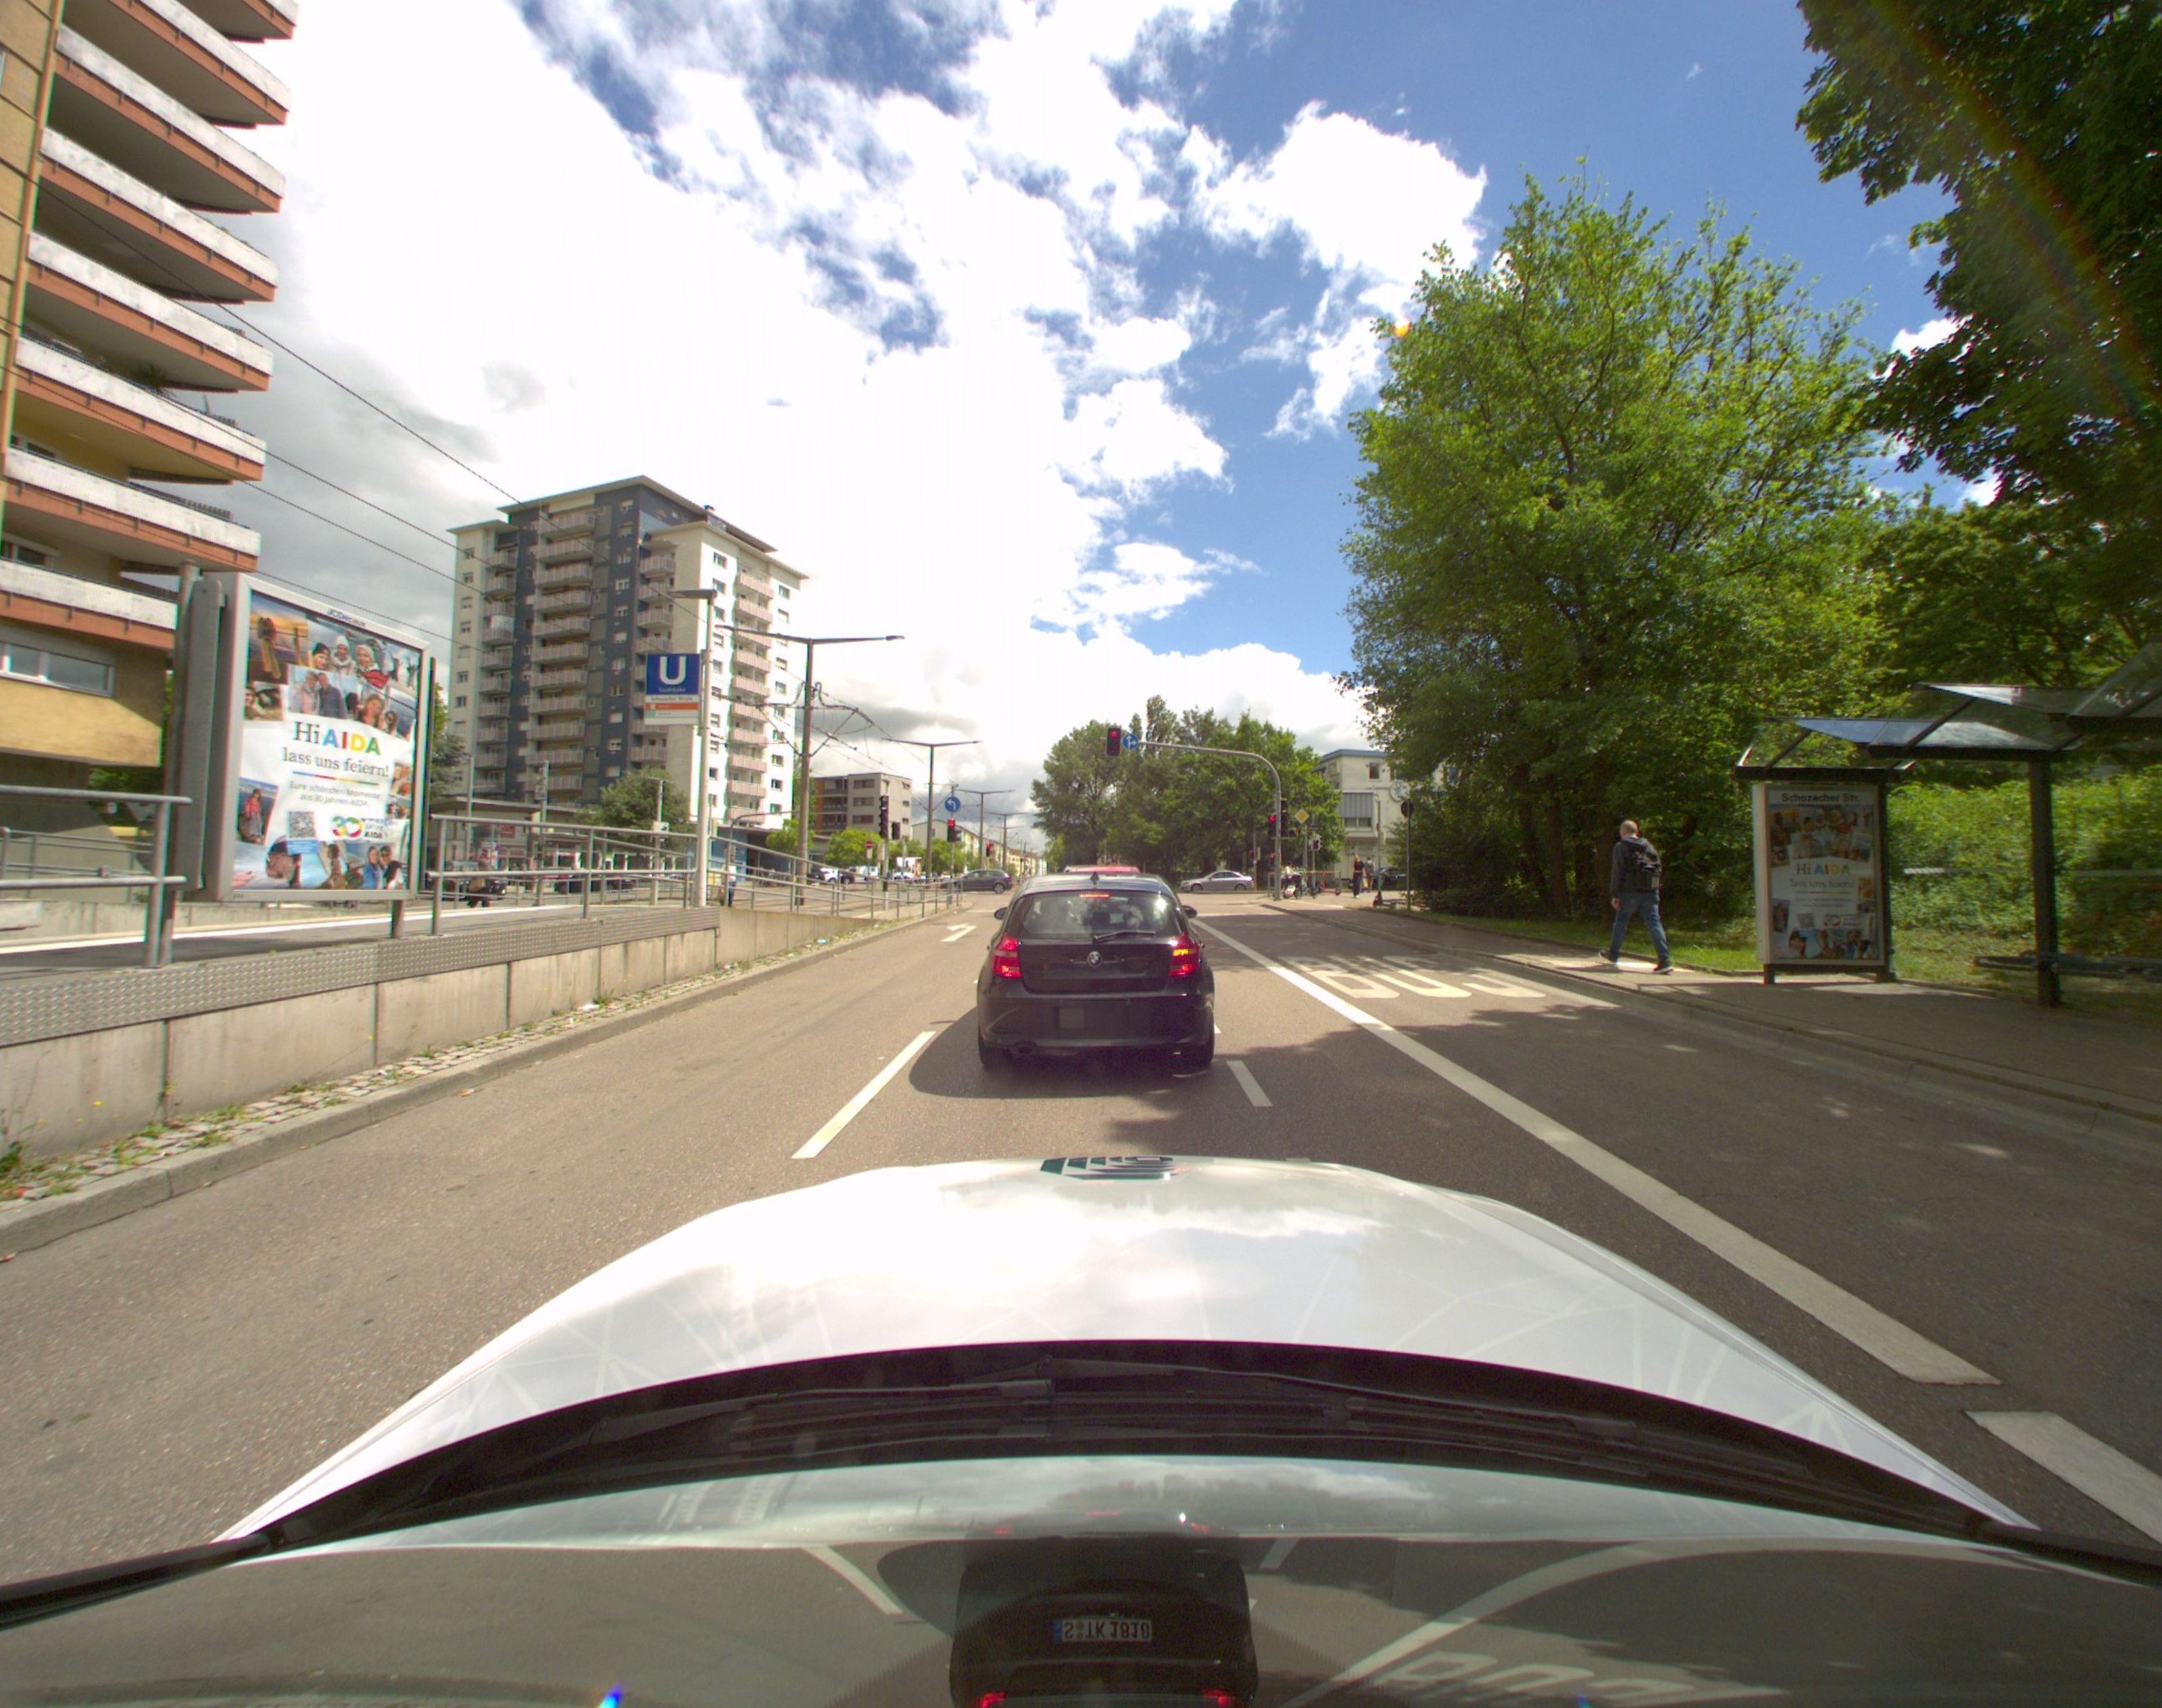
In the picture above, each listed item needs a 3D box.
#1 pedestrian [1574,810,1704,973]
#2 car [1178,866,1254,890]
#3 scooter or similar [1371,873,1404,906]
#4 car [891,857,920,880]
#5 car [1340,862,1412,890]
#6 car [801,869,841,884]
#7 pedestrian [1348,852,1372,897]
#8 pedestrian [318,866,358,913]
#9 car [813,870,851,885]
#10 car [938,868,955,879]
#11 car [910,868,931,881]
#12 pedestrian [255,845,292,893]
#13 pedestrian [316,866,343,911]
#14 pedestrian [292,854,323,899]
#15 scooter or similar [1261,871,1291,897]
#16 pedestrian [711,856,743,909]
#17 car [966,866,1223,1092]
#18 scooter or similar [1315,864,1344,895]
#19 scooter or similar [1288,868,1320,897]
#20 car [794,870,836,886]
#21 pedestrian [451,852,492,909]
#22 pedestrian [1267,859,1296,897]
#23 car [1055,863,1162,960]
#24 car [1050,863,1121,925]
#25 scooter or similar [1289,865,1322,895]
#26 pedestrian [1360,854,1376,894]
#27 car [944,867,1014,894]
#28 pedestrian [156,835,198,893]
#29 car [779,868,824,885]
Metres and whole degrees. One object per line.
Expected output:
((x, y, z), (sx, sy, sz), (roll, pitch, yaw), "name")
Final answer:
((6.924, 0.438, 10.171), (0.798, 1.895, 1.271), (1, -1, 3), "pedestrian")
((8.259, 1.477, 50.007), (4.318, 1.394, 1.709), (0, -1, -7), "car")
((10.750, 1.238, 28.591), (1.153, 1.099, 0.329), (0, -1, -22), "scooter or similar")
((-20.531, 1.676, 95.555), (2.132, 2.640, 5.358), (0, -1, 0), "car")
((17.388, 1.296, 48.063), (3.578, 1.601, 1.705), (0, -1, -11), "car")
((-26.190, 2.242, 82.044), (3.600, 1.462, 1.612), (-1, -1, -7), "car")
((11.408, 0.848, 33.284), (0.752, 1.790, 0.572), (3, -1, 33), "pedestrian")
((-22.005, 1.038, 24.135), (0.691, 1.343, 0.852), (0, -1, -29), "pedestrian")
((-26.243, 2.477, 85.805), (3.600, 1.462, 1.613), (-1, -1, -7), "car")
((-20.982, 3.057, 127.283), (1.960, 1.596, 3.999), (0, -1, 0), "car")
((-21.150, 2.660, 107.655), (1.960, 1.596, 3.999), (0, -1, 0), "car")
((-26.900, 0.504, 27.135), (0.625, 1.578, 0.853), (0, -1, -26), "pedestrian")
((-22.937, 1.049, 24.846), (0.660, 1.343, 0.558), (-1, -1, 44), "pedestrian")
((-27.477, 0.787, 28.930), (0.779, 1.583, 0.602), (1, -1, -45), "pedestrian")
((7.625, 1.166, 31.799), (1.121, 0.957, 0.299), (-1, -1, -14), "scooter or similar")
((-11.567, 0.917, 26.628), (0.849, 1.697, 0.693), (-1, -1, 43), "pedestrian")
((0.195, 0.829, 7.012), (1.647, 1.419, 3.520), (-1, 0, 4), "car")
((10.321, 1.055, 33.846), (1.107, 1.258, 0.331), (-1, -1, -10), "scooter or similar")
((8.493, 1.085, 31.019), (0.405, 1.051, 1.797), (-1, -1, 41), "scooter or similar")
((-25.693, 2.307, 78.809), (3.600, 1.462, 1.613), (-1, -1, -7), "car")
((-17.845, 0.780, 23.859), (0.698, 1.633, 0.638), (-1, -1, 0), "pedestrian")
((7.682, 0.905, 31.122), (0.856, 1.442, 0.803), (-1, -1, 31), "pedestrian")
((0.488, 0.878, 13.843), (1.588, 1.419, 3.519), (0, 0, 3), "car")
((0.110, 0.958, 20.764), (1.649, 1.419, 3.516), (0, 0, 0), "car")
((9.106, 1.061, 33.026), (1.290, 1.189, 0.383), (-1, -1, -14), "scooter or similar")
((13.274, 0.938, 37.667), (0.608, 1.790, 0.571), (3, -1, 20), "pedestrian")
((-5.982, 1.530, 47.813), (3.983, 1.526, 1.671), (0, -1, -7), "car")
((-27.275, 0.308, 24.577), (0.816, 1.706, 0.686), (-1, -1, 30), "pedestrian")
((-25.545, 2.077, 74.411), (3.600, 1.462, 1.613), (-1, -1, -7), "car")
